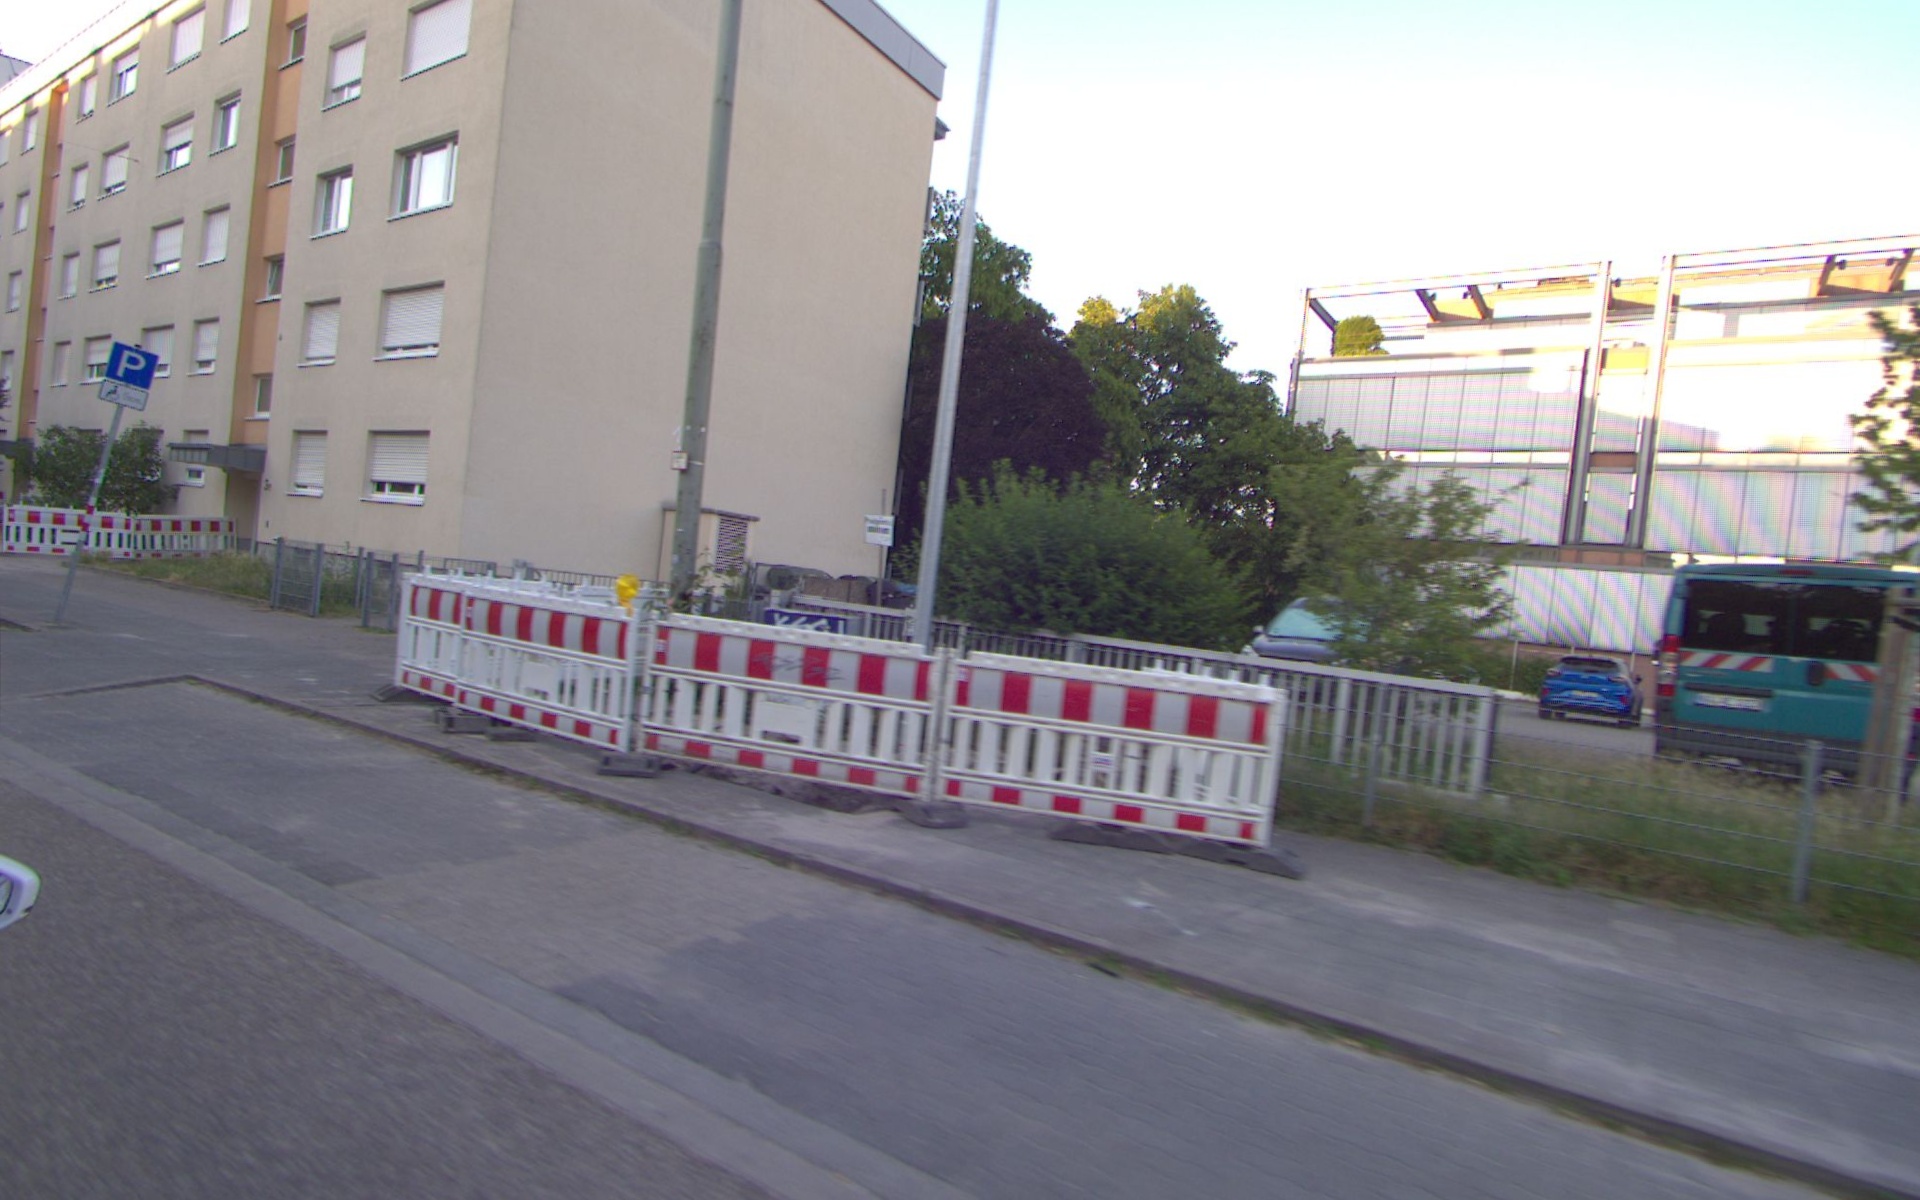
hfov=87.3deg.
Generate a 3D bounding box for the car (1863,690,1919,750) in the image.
[{"bbox_3d":[27.076,3.424,28.318,1.873,1.450,4.164,7,1,35],"label":"car"}]

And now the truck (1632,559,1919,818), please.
[{"bbox_3d":[8.977,0.896,11.084,2.081,2.117,4.494,7,0,38],"label":"truck"}]

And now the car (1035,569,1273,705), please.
[{"bbox_3d":[3.160,0.608,15.647,1.968,1.668,4.213,7,0,35],"label":"car"}]

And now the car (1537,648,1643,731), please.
[{"bbox_3d":[14.360,2.011,22.863,1.748,1.535,3.207,7,0,35],"label":"car"}]

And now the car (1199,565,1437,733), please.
[{"bbox_3d":[5.179,0.693,14.164,1.968,1.849,4.213,7,0,35],"label":"car"}]

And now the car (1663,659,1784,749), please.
[{"bbox_3d":[16.116,2.151,21.385,1.748,1.535,3.207,7,0,35],"label":"car"}]
